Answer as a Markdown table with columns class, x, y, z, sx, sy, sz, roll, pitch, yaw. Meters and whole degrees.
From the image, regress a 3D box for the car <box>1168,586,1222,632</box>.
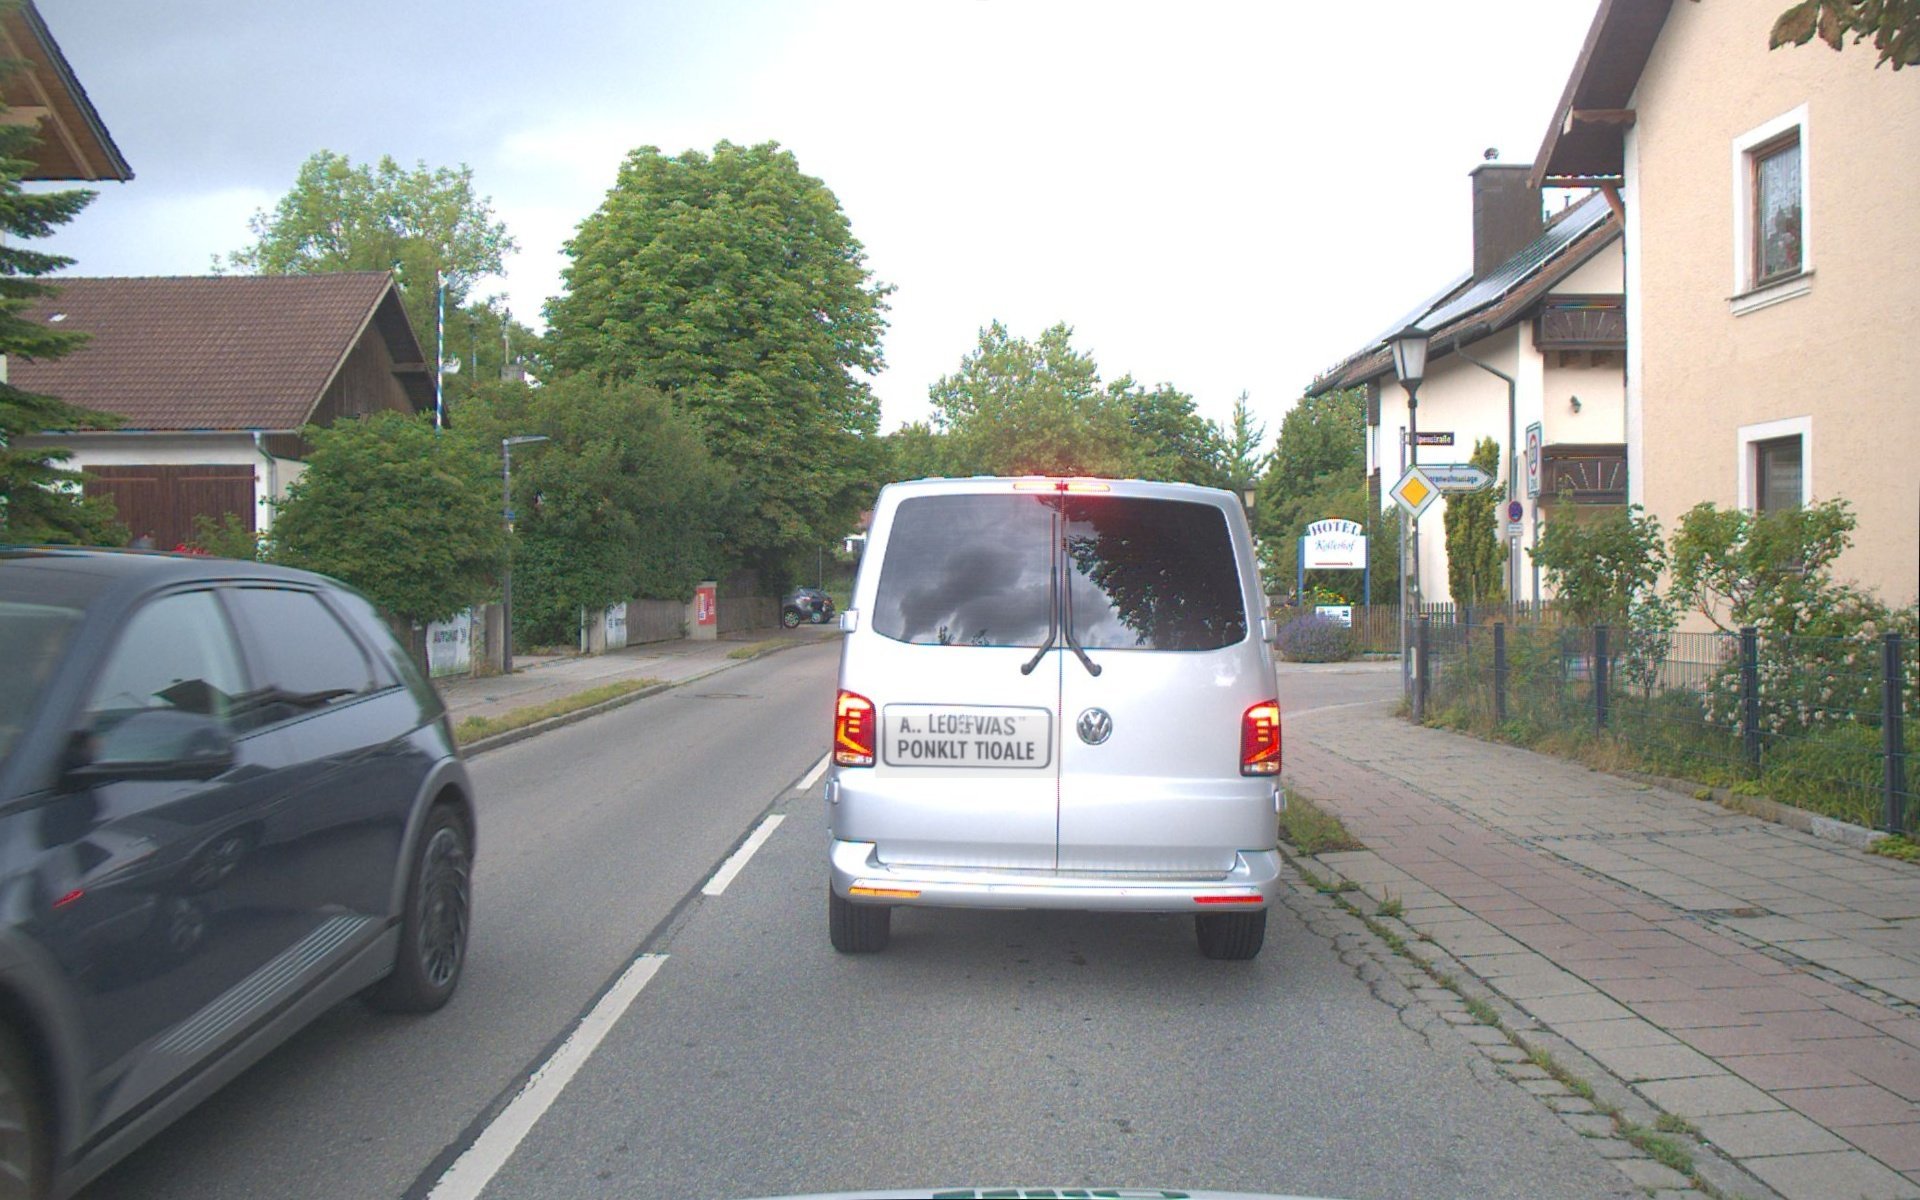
| class | x | y | z | sx | sy | sz | roll | pitch | yaw |
| --- | --- | --- | --- | --- | --- | --- | --- | --- | --- |
| car | 9.372 | 0.348 | 65.674 | 1.841 | 1.779 | 4.084 | 0 | 0 | 12 |

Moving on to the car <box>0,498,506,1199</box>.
| class | x | y | z | sx | sy | sz | roll | pitch | yaw |
| --- | --- | --- | --- | --- | --- | --- | --- | --- | --- |
| car | -2.709 | 0.607 | 4.266 | 1.891 | 1.602 | 4.311 | 0 | 0 | 0 |

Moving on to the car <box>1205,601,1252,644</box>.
| class | x | y | z | sx | sy | sz | roll | pitch | yaw |
| --- | --- | --- | --- | --- | --- | --- | --- | --- | --- |
| car | 12.036 | 0.972 | 73.950 | 1.841 | 1.857 | 3.924 | 0 | 0 | 13 |

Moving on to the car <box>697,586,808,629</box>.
| class | x | y | z | sx | sy | sz | roll | pitch | yaw |
| --- | --- | --- | --- | --- | --- | --- | --- | --- | --- |
| car | -7.540 | 0.261 | 60.073 | 3.913 | 1.512 | 1.996 | 0 | 0 | -9 |

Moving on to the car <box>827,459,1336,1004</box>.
| class | x | y | z | sx | sy | sz | roll | pitch | yaw |
| --- | --- | --- | --- | --- | --- | --- | --- | --- | --- |
| car | 0.454 | 0.469 | 7.979 | 1.842 | 1.974 | 3.921 | 0 | 0 | 0 |

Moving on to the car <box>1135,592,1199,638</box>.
| class | x | y | z | sx | sy | sz | roll | pitch | yaw |
| --- | --- | --- | --- | --- | --- | --- | --- | --- | --- |
| car | 7.327 | 0.490 | 58.321 | 1.841 | 1.562 | 3.924 | 0 | 0 | 13 |

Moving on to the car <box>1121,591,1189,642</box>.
| class | x | y | z | sx | sy | sz | roll | pitch | yaw |
| --- | --- | --- | --- | --- | --- | --- | --- | --- | --- |
| car | 6.257 | 0.488 | 52.783 | 1.841 | 1.562 | 3.924 | 0 | 0 | 11 |
